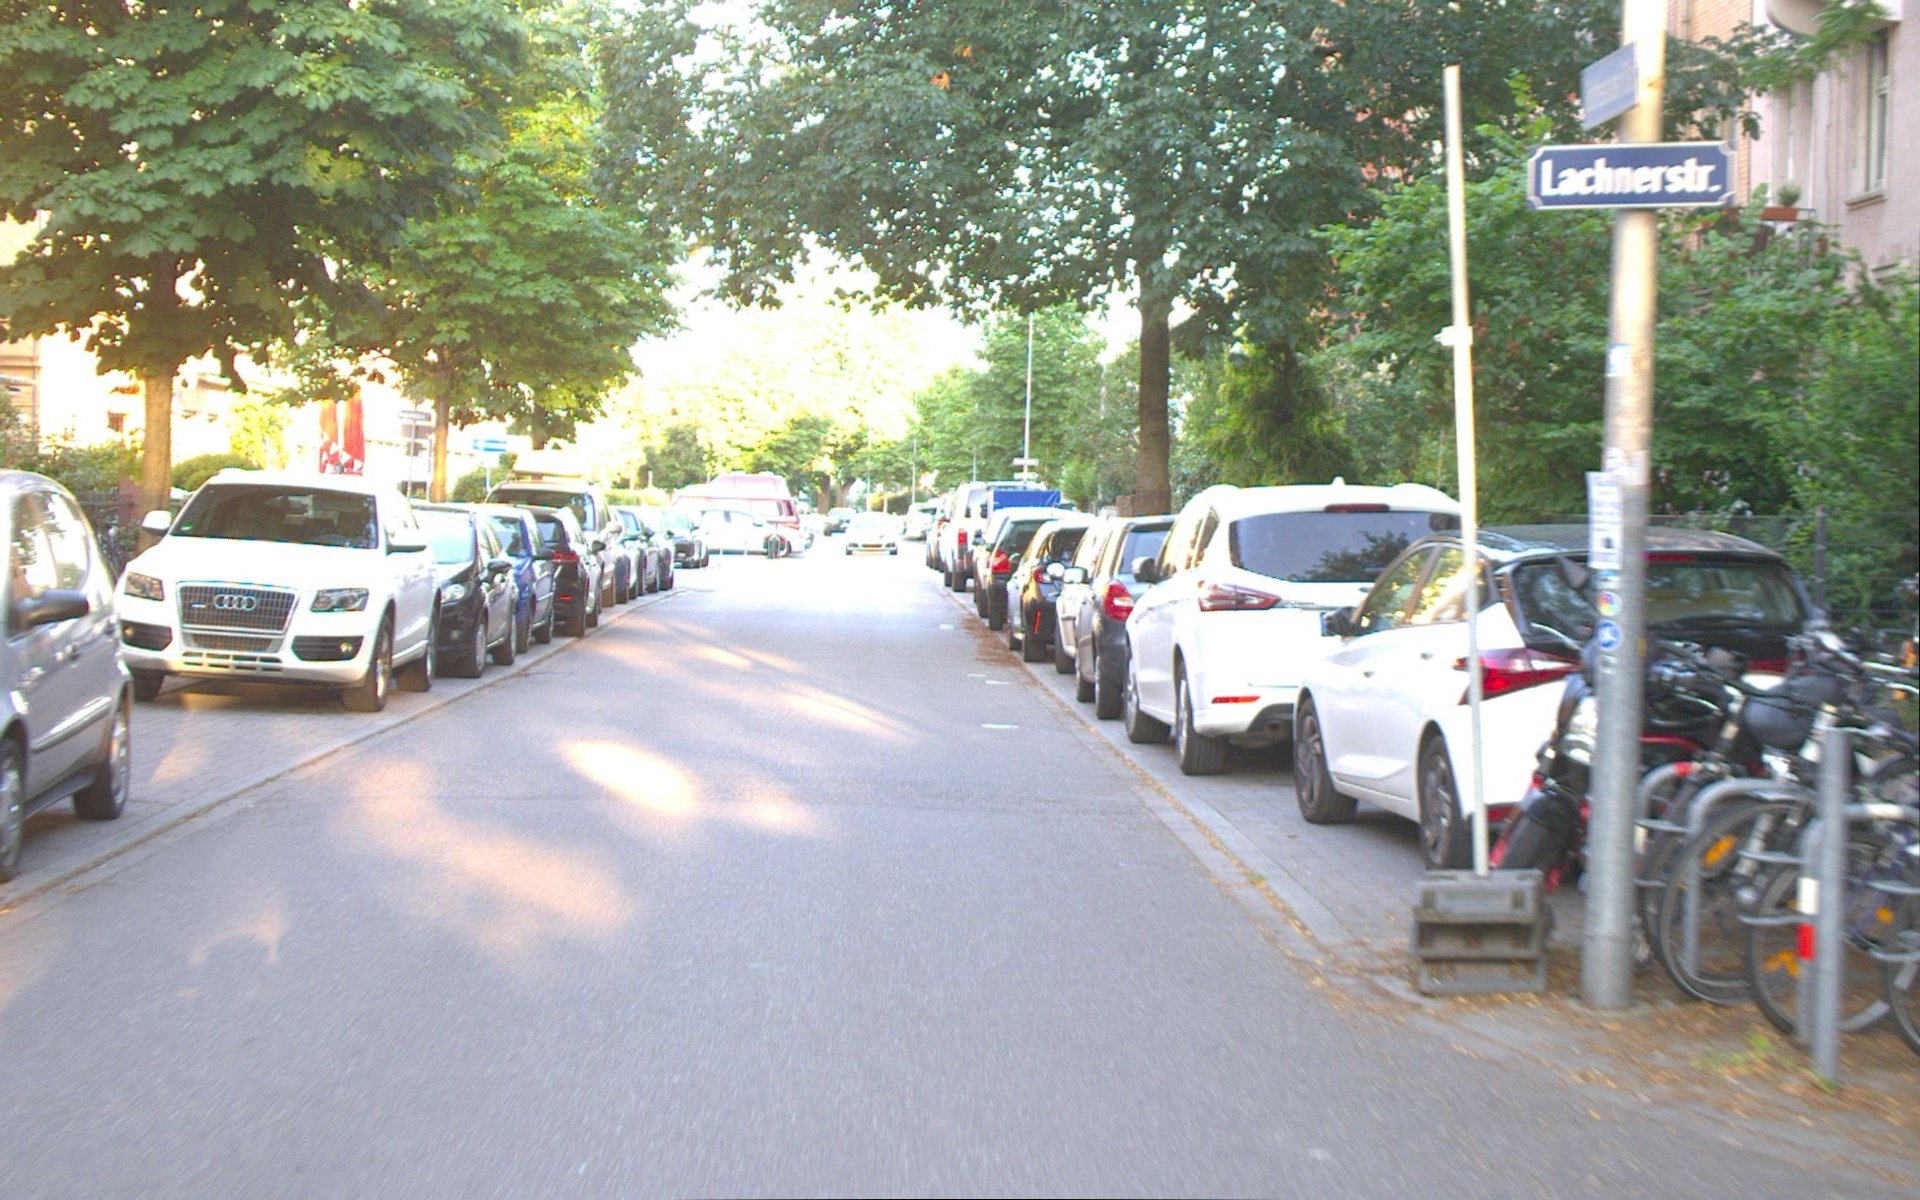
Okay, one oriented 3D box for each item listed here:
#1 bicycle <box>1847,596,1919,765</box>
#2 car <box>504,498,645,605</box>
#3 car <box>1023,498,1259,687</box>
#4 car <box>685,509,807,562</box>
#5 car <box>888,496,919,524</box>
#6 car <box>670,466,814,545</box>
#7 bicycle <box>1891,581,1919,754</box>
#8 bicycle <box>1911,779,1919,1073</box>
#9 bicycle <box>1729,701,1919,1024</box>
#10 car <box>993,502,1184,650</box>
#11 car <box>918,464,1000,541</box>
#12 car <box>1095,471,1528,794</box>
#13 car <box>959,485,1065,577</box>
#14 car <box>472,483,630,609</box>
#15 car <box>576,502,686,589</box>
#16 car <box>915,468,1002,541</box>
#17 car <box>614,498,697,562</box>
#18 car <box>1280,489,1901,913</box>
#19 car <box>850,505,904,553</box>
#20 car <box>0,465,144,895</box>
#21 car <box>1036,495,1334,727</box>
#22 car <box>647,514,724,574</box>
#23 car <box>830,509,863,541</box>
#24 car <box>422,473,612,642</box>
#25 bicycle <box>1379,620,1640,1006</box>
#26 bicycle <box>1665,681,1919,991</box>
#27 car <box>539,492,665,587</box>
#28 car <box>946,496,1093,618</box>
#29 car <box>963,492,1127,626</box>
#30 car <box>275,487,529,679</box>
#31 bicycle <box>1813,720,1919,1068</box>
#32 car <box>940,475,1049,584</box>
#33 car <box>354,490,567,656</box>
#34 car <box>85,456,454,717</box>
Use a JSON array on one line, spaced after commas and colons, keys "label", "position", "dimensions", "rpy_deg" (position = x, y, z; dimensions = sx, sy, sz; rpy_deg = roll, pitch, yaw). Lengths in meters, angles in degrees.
[{"label": "bicycle", "position": [6.339, 0.500, 21.470], "dimensions": [1.509, 1.030, 0.330], "rpy_deg": [0, 3, -3]}, {"label": "car", "position": [-5.691, -0.753, 51.135], "dimensions": [1.715, 1.460, 3.987], "rpy_deg": [2, 2, -2]}, {"label": "car", "position": [1.610, -0.105, 31.748], "dimensions": [1.686, 1.600, 3.749], "rpy_deg": [1, 1, -4]}, {"label": "car", "position": [-6.483, -1.955, 103.870], "dimensions": [3.618, 1.456, 1.607], "rpy_deg": [1, 2, -5]}, {"label": "car", "position": [-3.341, -5.343, 203.214], "dimensions": [1.715, 1.590, 3.483], "rpy_deg": [2, 2, -2]}, {"label": "car", "position": [-6.748, -2.935, 106.455], "dimensions": [4.349, 2.310, 1.746], "rpy_deg": [2, 2, -3]}, {"label": "bicycle", "position": [6.484, 0.409, 20.987], "dimensions": [1.509, 1.030, 0.330], "rpy_deg": [0, 3, -3]}, {"label": "bicycle", "position": [3.332, 0.859, 9.735], "dimensions": [1.223, 0.960, 0.330], "rpy_deg": [0, 3, -18]}, {"label": "bicycle", "position": [3.039, 0.804, 10.821], "dimensions": [1.224, 0.944, 0.330], "rpy_deg": [0, 3, -23]}, {"label": "car", "position": [1.287, -0.281, 35.923], "dimensions": [1.686, 1.436, 4.210], "rpy_deg": [-1, 1, -2]}, {"label": "car", "position": [-0.042, -2.386, 84.431], "dimensions": [1.686, 1.805, 3.941], "rpy_deg": [1, 1, -4]}, {"label": "car", "position": [1.971, 0.122, 20.674], "dimensions": [1.798, 1.705, 4.602], "rpy_deg": [1, 1, -4]}, {"label": "car", "position": [0.890, -1.220, 60.502], "dimensions": [1.538, 1.516, 3.432], "rpy_deg": [1, 1, -4]}, {"label": "car", "position": [-5.553, -0.770, 47.139], "dimensions": [1.715, 1.590, 4.520], "rpy_deg": [2, 2, -2]}, {"label": "car", "position": [-5.850, -0.993, 61.429], "dimensions": [1.599, 1.436, 3.838], "rpy_deg": [2, 2, -1]}, {"label": "car", "position": [-0.061, -2.197, 79.494], "dimensions": [1.686, 1.600, 3.941], "rpy_deg": [1, 1, -4]}, {"label": "car", "position": [-7.383, -1.687, 83.620], "dimensions": [1.715, 1.480, 3.631], "rpy_deg": [2, 1, -1]}, {"label": "car", "position": [2.594, 0.336, 15.017], "dimensions": [1.686, 1.586, 3.660], "rpy_deg": [1, 2, -6]}, {"label": "car", "position": [-2.902, -2.491, 119.910], "dimensions": [1.813, 1.590, 3.483], "rpy_deg": [2, 2, -2]}, {"label": "car", "position": [-4.483, 0.231, 14.212], "dimensions": [1.595, 1.598, 3.745], "rpy_deg": [1, 2, -5]}, {"label": "car", "position": [1.648, 0.029, 26.511], "dimensions": [1.686, 1.600, 4.210], "rpy_deg": [1, 1, -4]}, {"label": "car", "position": [-7.115, -1.470, 89.222], "dimensions": [1.715, 1.436, 3.631], "rpy_deg": [2, 2, -1]}, {"label": "car", "position": [-6.067, -4.029, 183.929], "dimensions": [1.715, 1.590, 3.483], "rpy_deg": [2, 2, -2]}, {"label": "car", "position": [-5.025, -0.531, 39.440], "dimensions": [1.715, 1.784, 4.216], "rpy_deg": [2, 2, -2]}, {"label": "bicycle", "position": [1.884, 0.674, 11.632], "dimensions": [0.444, 1.169, 1.634], "rpy_deg": [2, 2, 23]}, {"label": "bicycle", "position": [2.942, 0.763, 11.432], "dimensions": [1.224, 0.948, 0.330], "rpy_deg": [-1, 3, -29]}, {"label": "car", "position": [-5.779, -1.005, 55.819], "dimensions": [1.715, 1.436, 3.631], "rpy_deg": [2, 2, -2]}, {"label": "car", "position": [0.795, -0.626, 48.229], "dimensions": [1.686, 1.600, 3.941], "rpy_deg": [1, 1, -4]}, {"label": "car", "position": [1.046, -0.550, 44.006], "dimensions": [1.686, 1.600, 3.941], "rpy_deg": [1, 1, -4]}, {"label": "car", "position": [-4.918, -0.179, 30.734], "dimensions": [1.715, 1.561, 3.781], "rpy_deg": [2, 1, -2]}, {"label": "bicycle", "position": [3.130, 0.838, 10.124], "dimensions": [1.224, 0.954, 0.330], "rpy_deg": [0, 3, -23]}, {"label": "car", "position": [0.612, -1.329, 64.303], "dimensions": [1.680, 1.934, 3.881], "rpy_deg": [1, 1, -4]}, {"label": "car", "position": [-5.110, -0.322, 35.549], "dimensions": [1.715, 1.561, 3.788], "rpy_deg": [2, 2, -2]}, {"label": "car", "position": [-4.988, -0.164, 25.425], "dimensions": [1.921, 1.711, 4.428], "rpy_deg": [2, 2, -2]}]
